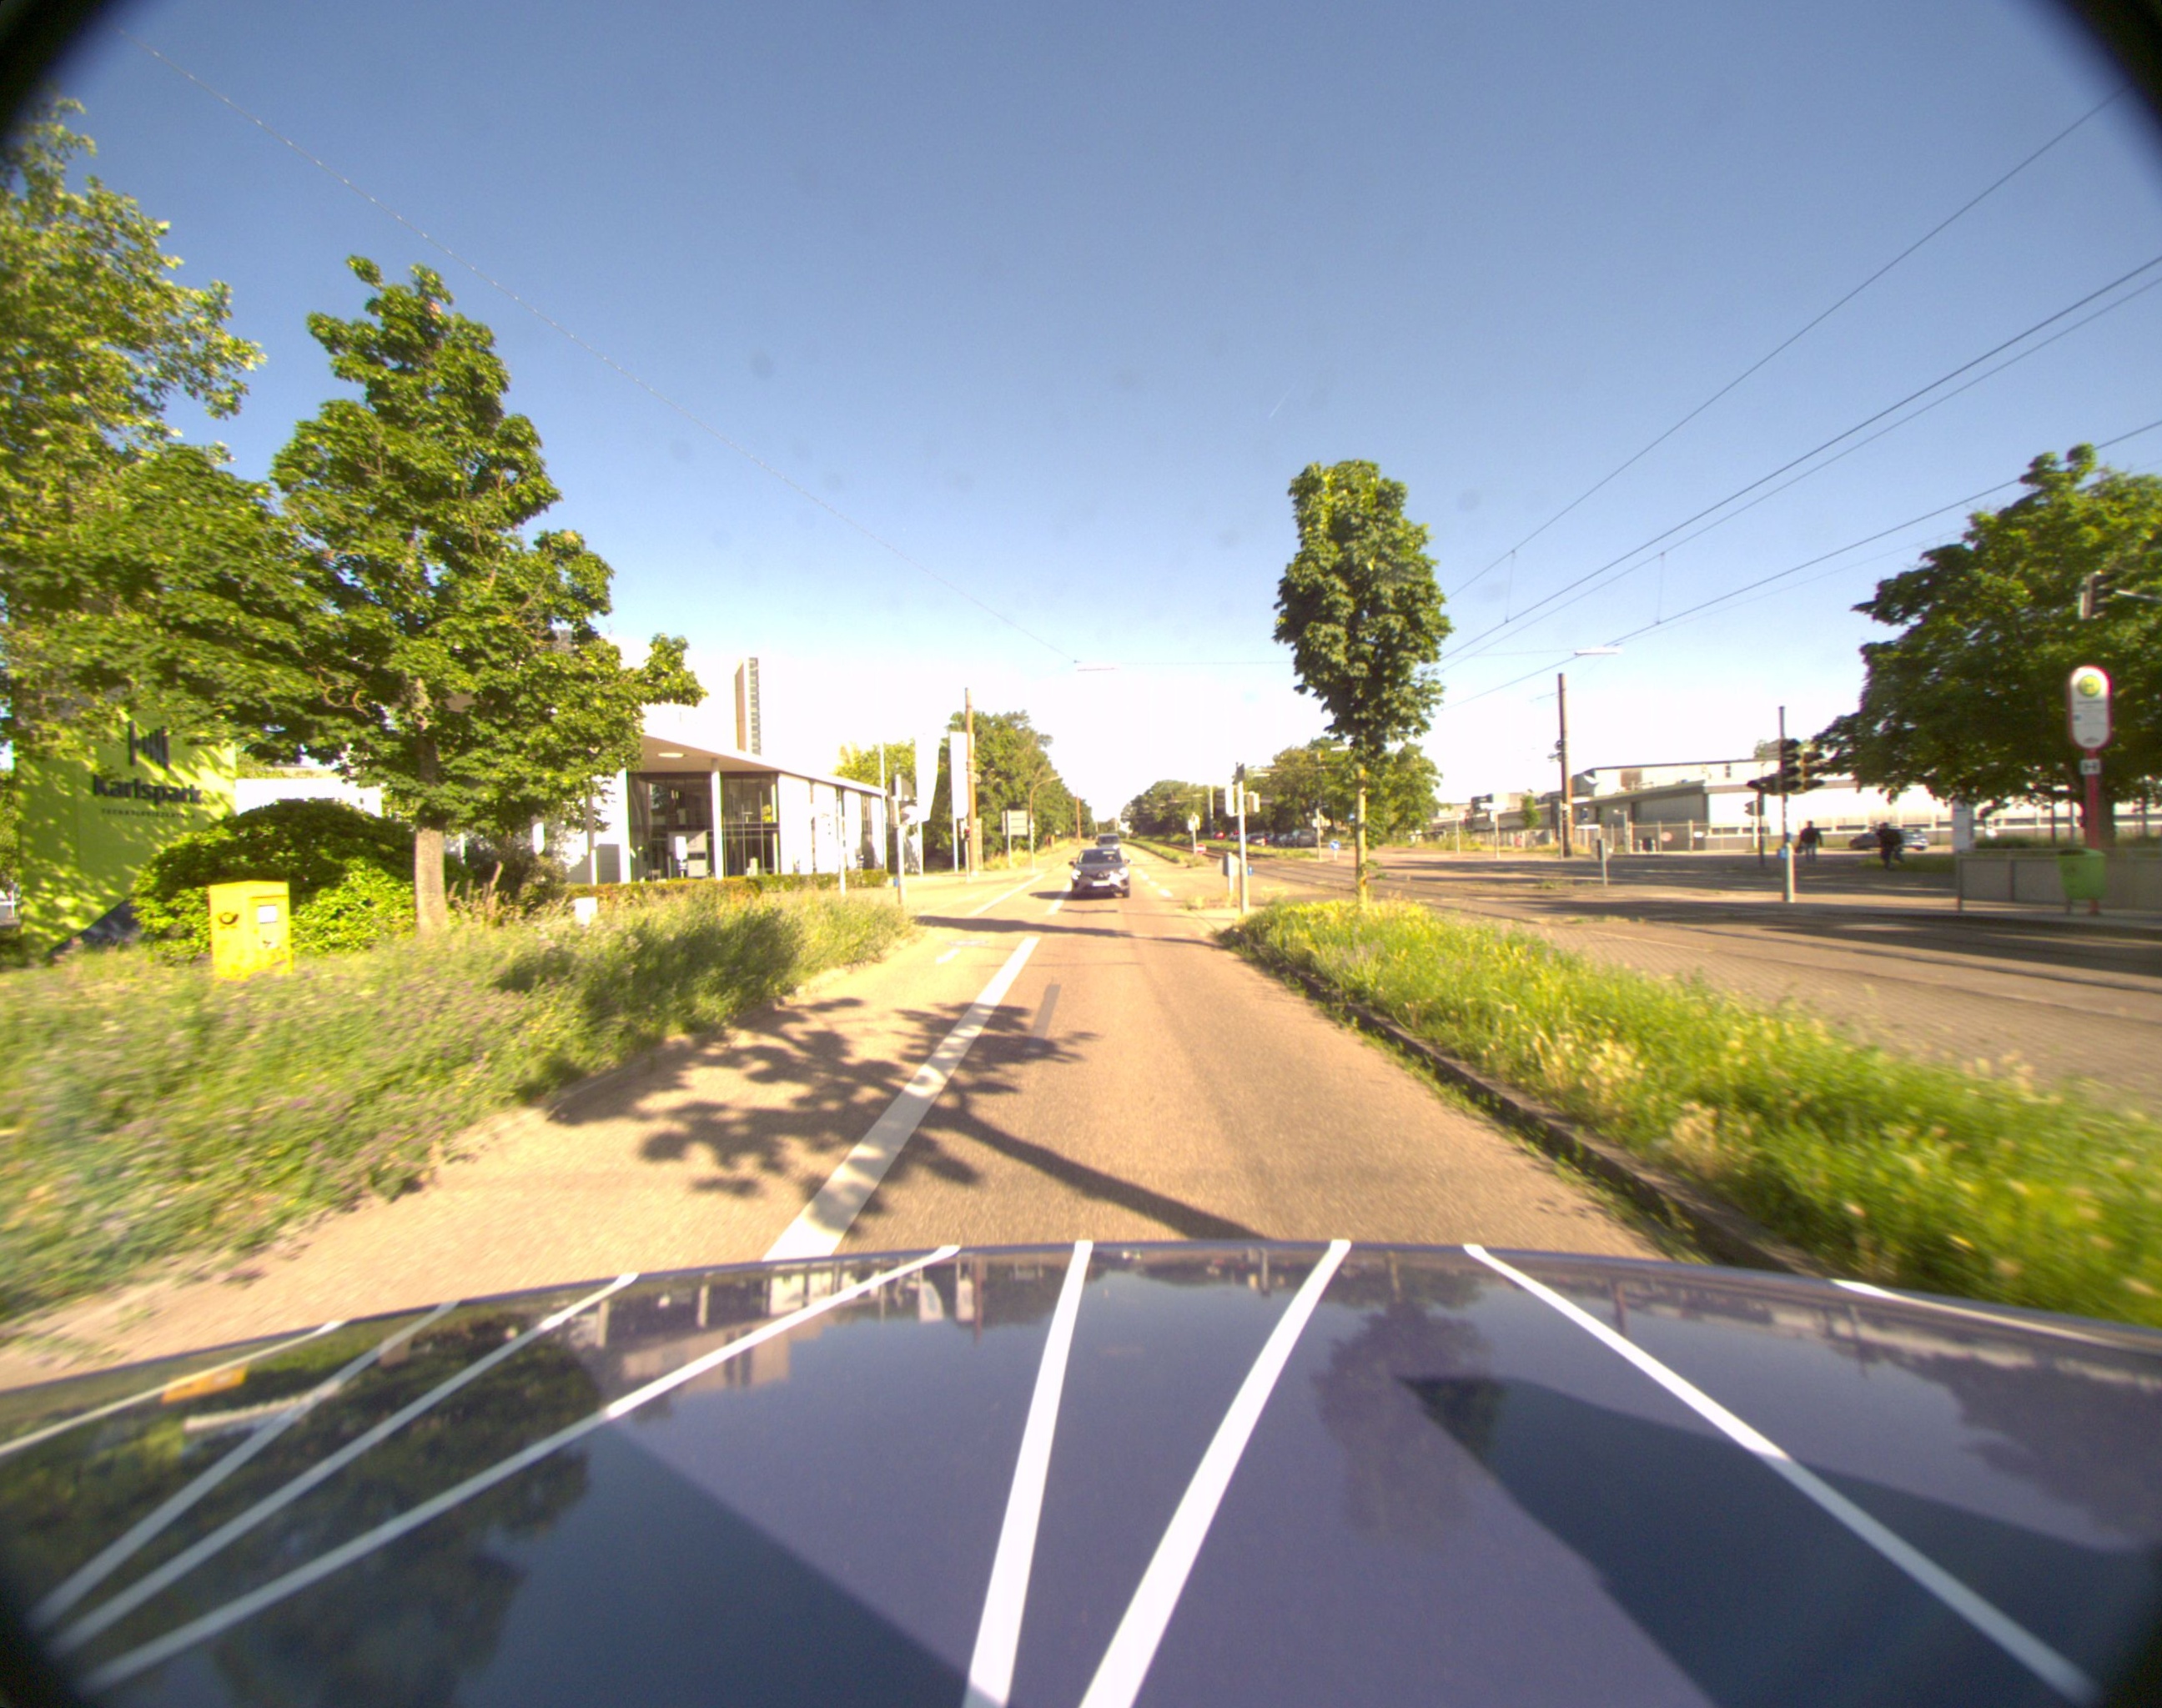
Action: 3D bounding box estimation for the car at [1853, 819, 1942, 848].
[{"bbox_3d":[51.029,-1.272,47.597,1.996,1.696,4.004,-2,1,15],"label":"car"}]

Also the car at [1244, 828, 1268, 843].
[{"bbox_3d":[18.793,-1.980,81.498,1.701,1.575,3.456,-1,1,-1],"label":"car"}]

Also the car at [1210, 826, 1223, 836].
[{"bbox_3d":[24.992,-4.225,139.829,1.701,1.575,3.456,-1,1,-1],"label":"car"}]

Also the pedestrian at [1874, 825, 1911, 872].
[{"bbox_3d":[27.655,-0.196,25.906,0.728,1.559,0.791,-3,1,-38],"label":"pedestrian"}]

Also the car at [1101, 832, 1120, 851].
[{"bbox_3d":[2.677,-1.148,70.481,1.555,1.765,3.456,-1,1,-1],"label":"car"}]

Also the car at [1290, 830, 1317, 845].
[{"bbox_3d":[23.571,-1.712,80.692,1.772,1.575,3.456,-1,1,-1],"label":"car"}]

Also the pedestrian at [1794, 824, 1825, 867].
[{"bbox_3d":[28.883,-0.341,30.121,0.639,1.667,0.805,-3,1,-38],"label":"pedestrian"}]

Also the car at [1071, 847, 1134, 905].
[{"bbox_3d":[0.583,0.611,24.100,1.750,1.585,4.245,-2,1,-1],"label":"car"}]

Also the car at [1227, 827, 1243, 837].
[{"bbox_3d":[24.845,-3.505,122.633,1.701,1.575,3.456,-1,1,-1],"label":"car"}]

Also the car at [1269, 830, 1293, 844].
[{"bbox_3d":[23.036,-1.957,87.646,1.701,1.575,3.456,-1,1,-1],"label":"car"}]
